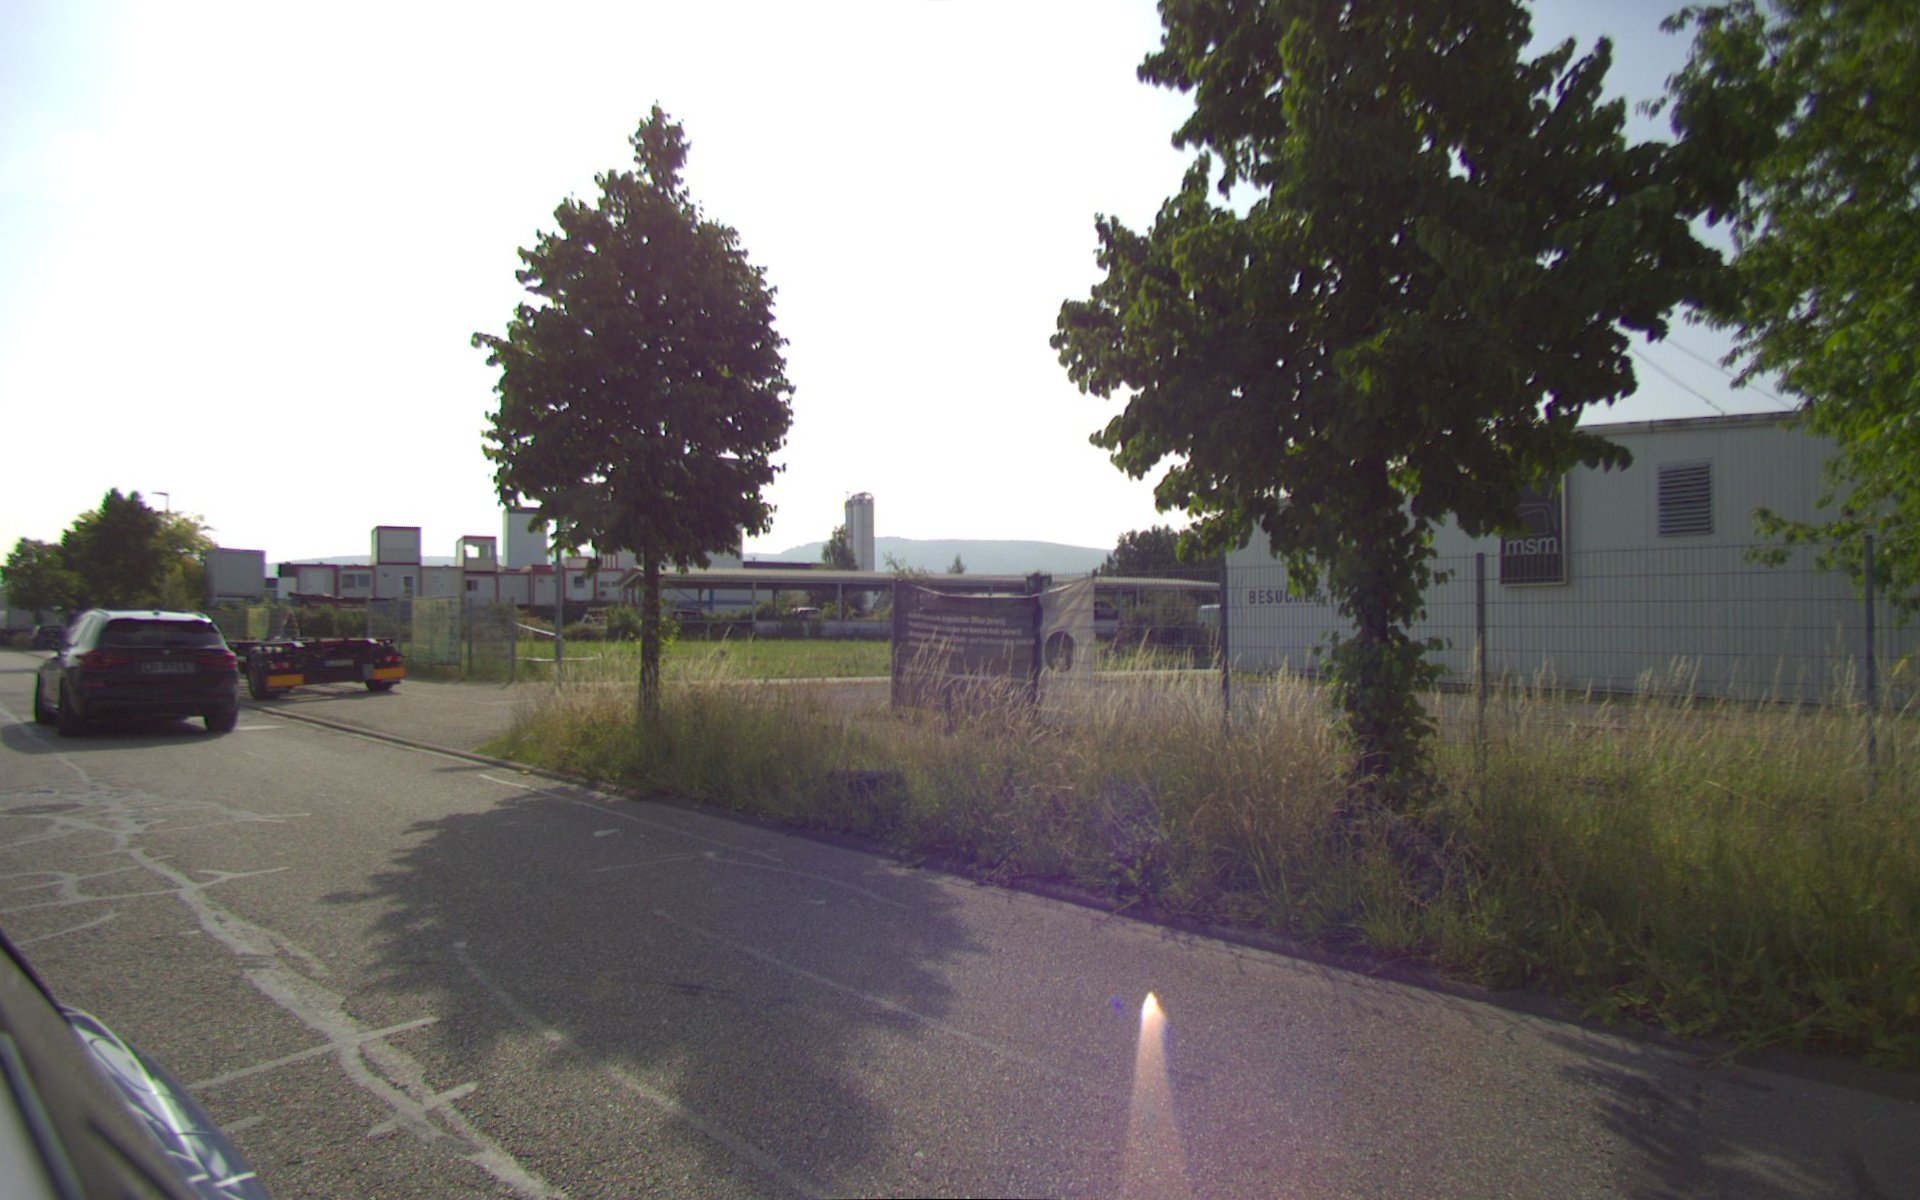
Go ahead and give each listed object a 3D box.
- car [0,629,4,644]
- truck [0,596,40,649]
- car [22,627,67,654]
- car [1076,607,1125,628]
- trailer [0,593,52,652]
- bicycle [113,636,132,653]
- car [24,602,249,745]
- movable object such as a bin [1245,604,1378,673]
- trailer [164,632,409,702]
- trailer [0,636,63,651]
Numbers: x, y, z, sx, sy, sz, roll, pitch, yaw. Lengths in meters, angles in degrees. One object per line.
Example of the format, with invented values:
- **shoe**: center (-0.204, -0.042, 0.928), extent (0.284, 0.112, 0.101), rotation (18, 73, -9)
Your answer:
- **car**: center (-106.207, 3.996, 110.853), extent (4.249, 1.639, 1.792), rotation (-2, -3, 43)
- **truck**: center (-74.209, 1.770, 79.086), extent (9.636, 3.914, 2.683), rotation (-2, -1, 43)
- **car**: center (-52.928, 2.325, 58.486), extent (4.095, 1.481, 1.668), rotation (-2, -2, 45)
- **car**: center (12.132, 1.523, 87.111), extent (3.835, 1.821, 1.752), rotation (0, -2, -27)
- **trailer**: center (-67.229, 1.618, 72.440), extent (9.768, 3.914, 2.669), rotation (-2, -1, 44)
- **bicycle**: center (-50.209, 2.637, 60.674), extent (2.452, 0.980, 0.556), rotation (-2, -2, 43)
- **car**: center (-11.784, 0.979, 14.389), extent (4.226, 1.728, 1.836), rotation (-2, -4, 43)
- **movable object such as a bin**: center (13.264, 1.444, 38.265), extent (4.231, 2.475, 2.259), rotation (1, -2, -21)
- **trailer**: center (-15.407, 1.353, 22.743), extent (9.363, 1.193, 2.554), rotation (-2, -1, 43)
- **trailer**: center (-61.401, 2.856, 66.833), extent (6.243, 0.993, 2.620), rotation (-2, -3, 43)
